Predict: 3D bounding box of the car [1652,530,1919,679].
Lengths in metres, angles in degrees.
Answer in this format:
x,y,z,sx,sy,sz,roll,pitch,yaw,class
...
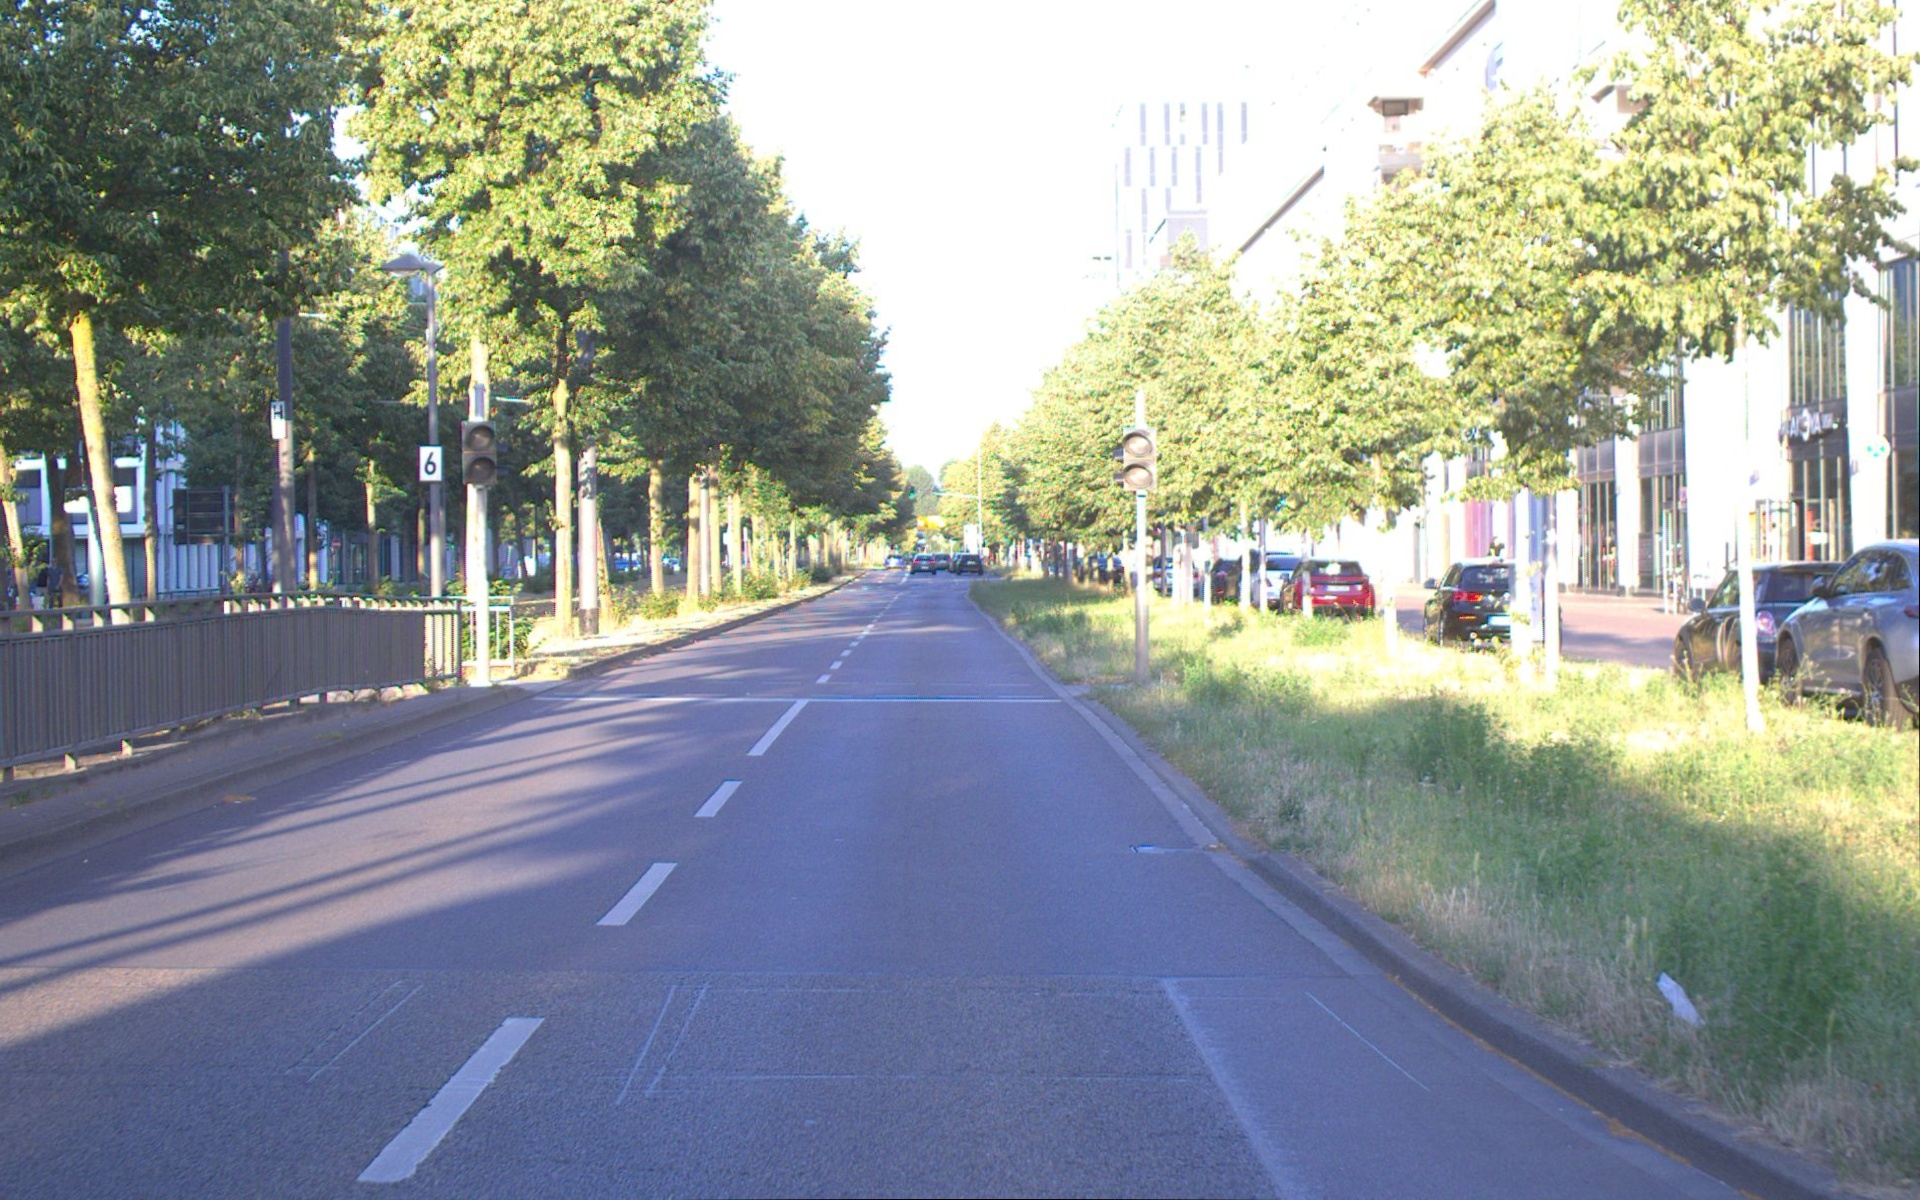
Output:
x,y,z,sx,sy,sz,roll,pitch,yaw,class
8.275,0.013,34.532,1.749,1.393,4.000,0,1,-1,car

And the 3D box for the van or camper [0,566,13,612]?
x,y,z,sx,sy,sz,roll,pitch,yaw,class
-39.451,-0.427,135.293,3.986,1.785,2.001,-1,1,-10,van or camper

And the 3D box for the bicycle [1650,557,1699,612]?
x,y,z,sx,sy,sz,roll,pitch,yaw,class
15.090,-0.327,72.689,0.546,1.124,1.869,-2,1,-2,bicycle

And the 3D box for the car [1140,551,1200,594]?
x,y,z,sx,sy,sz,roll,pitch,yaw,class
7.594,-1.009,124.671,1.808,1.496,4.826,0,1,-1,car

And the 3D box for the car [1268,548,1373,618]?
x,y,z,sx,sy,sz,roll,pitch,yaw,class
7.926,-0.394,75.817,1.808,1.496,3.960,0,1,-1,car

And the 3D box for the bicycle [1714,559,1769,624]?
x,y,z,sx,sy,sz,roll,pitch,yaw,class
15.261,-0.174,67.158,0.617,1.227,1.671,-1,1,-2,bicycle

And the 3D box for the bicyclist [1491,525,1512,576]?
x,y,z,sx,sy,sz,roll,pitch,yaw,class
16.699,-1.525,106.059,0.544,1.563,1.019,0,1,3,bicyclist

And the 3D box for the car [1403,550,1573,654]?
x,y,z,sx,sy,sz,roll,pitch,yaw,class
7.937,-0.003,51.982,1.808,1.496,4.369,0,1,-1,car

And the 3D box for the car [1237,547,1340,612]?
x,y,z,sx,sy,sz,roll,pitch,yaw,class
7.939,-0.521,83.525,1.920,1.496,5.010,0,1,-1,car

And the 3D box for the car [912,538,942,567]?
x,y,z,sx,sy,sz,roll,pitch,yaw,class
-2.342,-3.372,241.879,2.087,2.007,4.000,0,1,-1,car

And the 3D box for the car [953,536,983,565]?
x,y,z,sx,sy,sz,roll,pitch,yaw,class
0.573,-3.457,240.473,1.993,2.007,4.000,0,1,-1,car

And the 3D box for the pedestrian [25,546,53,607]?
x,y,z,sx,sy,sz,roll,pitch,yaw,class
-28.285,-0.729,105.571,0.693,1.864,0.866,-1,0,-8,pedestrian

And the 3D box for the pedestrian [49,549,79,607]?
x,y,z,sx,sy,sz,roll,pitch,yaw,class
-27.407,-0.669,105.125,0.693,1.737,0.866,-1,0,-2,pedestrian

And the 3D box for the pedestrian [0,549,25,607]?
x,y,z,sx,sy,sz,roll,pitch,yaw,class
-28.982,-0.674,105.052,0.693,1.753,0.866,-1,0,-8,pedestrian

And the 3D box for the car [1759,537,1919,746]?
x,y,z,sx,sy,sz,roll,pitch,yaw,class
8.283,0.280,29.204,1.808,1.626,4.676,0,1,-1,car

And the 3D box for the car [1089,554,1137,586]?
x,y,z,sx,sy,sz,roll,pitch,yaw,class
7.482,-1.478,168.565,1.943,1.543,4.812,-1,1,-2,car
